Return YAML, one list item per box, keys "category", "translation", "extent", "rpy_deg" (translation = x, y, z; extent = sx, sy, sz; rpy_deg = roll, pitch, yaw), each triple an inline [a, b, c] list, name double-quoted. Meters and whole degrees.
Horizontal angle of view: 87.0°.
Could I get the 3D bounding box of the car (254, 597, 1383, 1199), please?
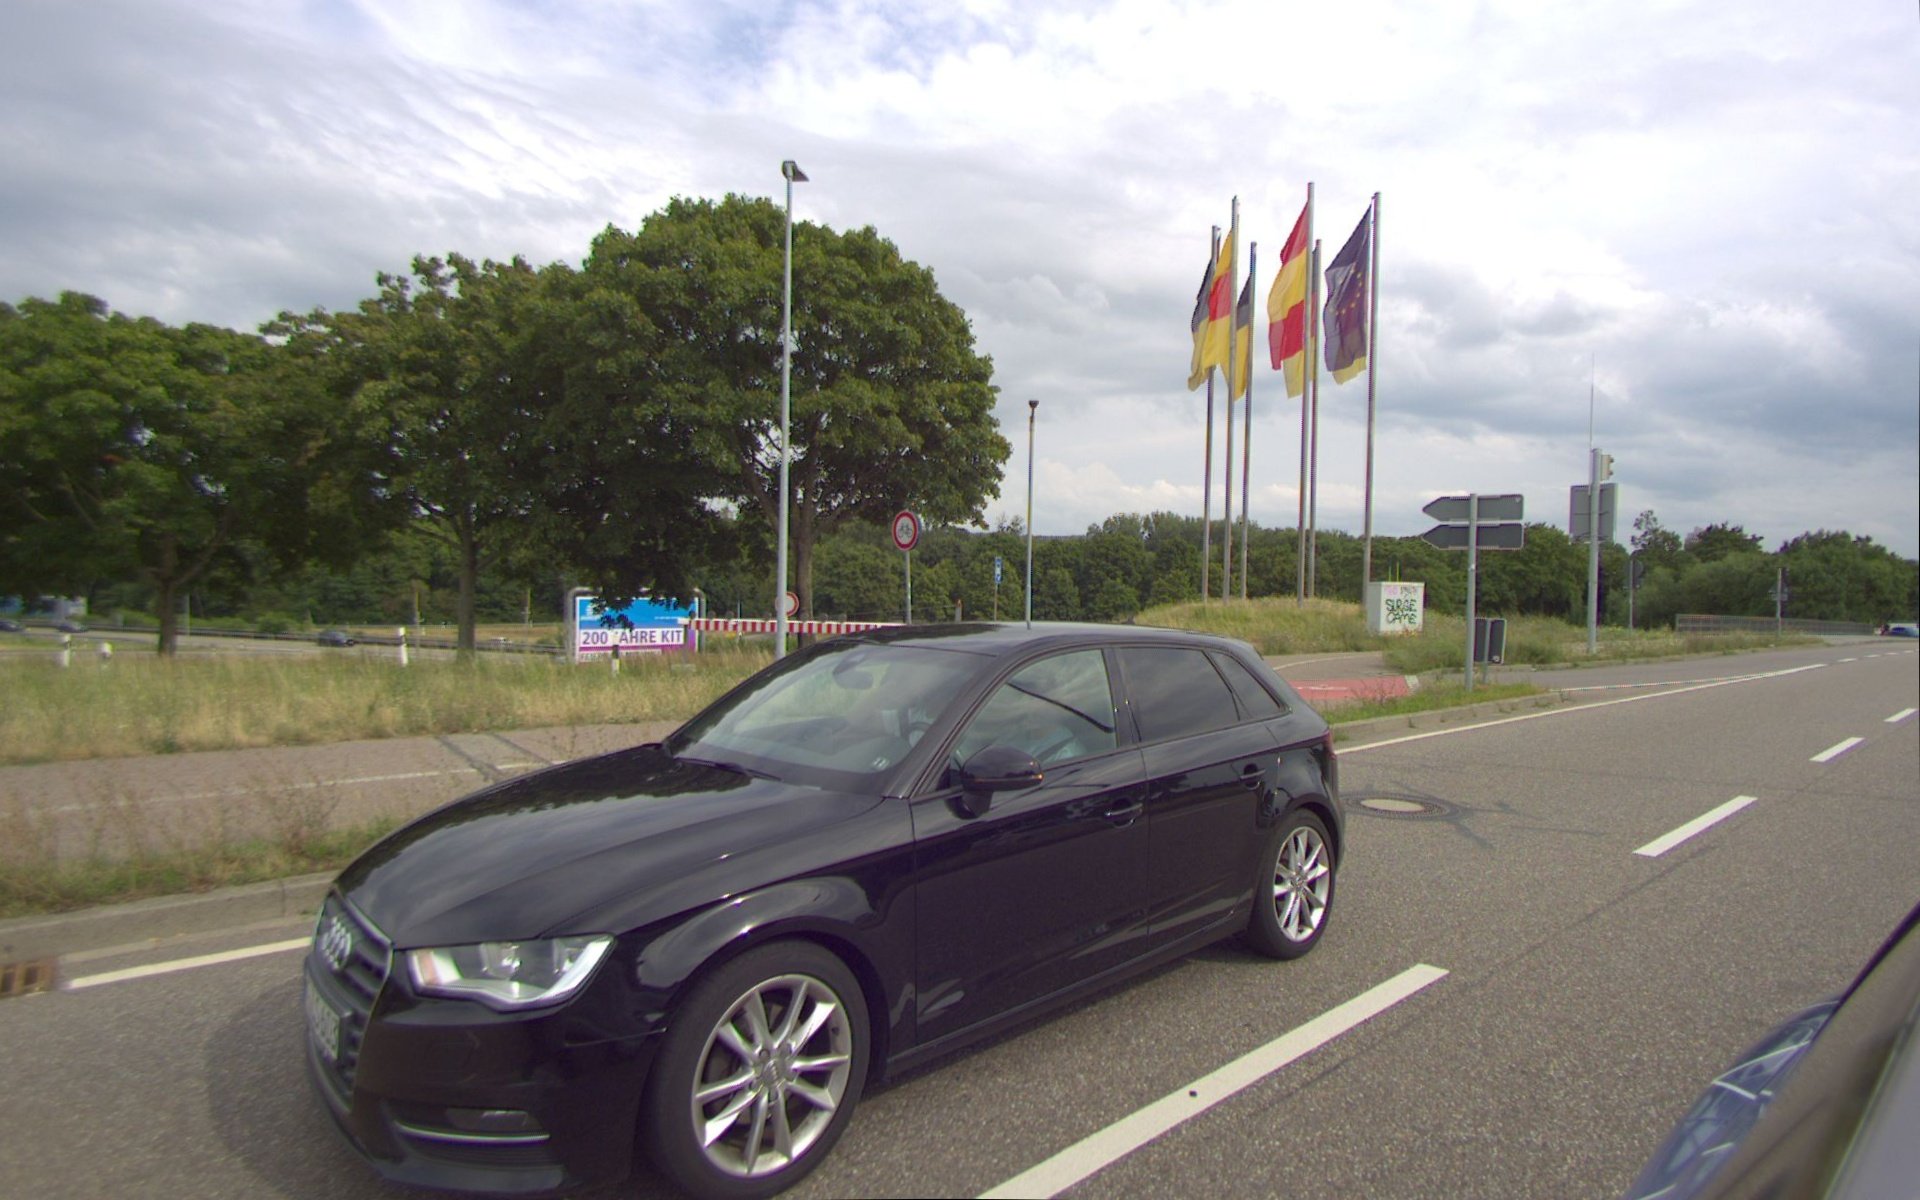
- category: "car"
  translation: [-0.136, 0.717, 3.892]
  extent: [4.045, 1.412, 1.733]
  rpy_deg: [0, 0, -43]
